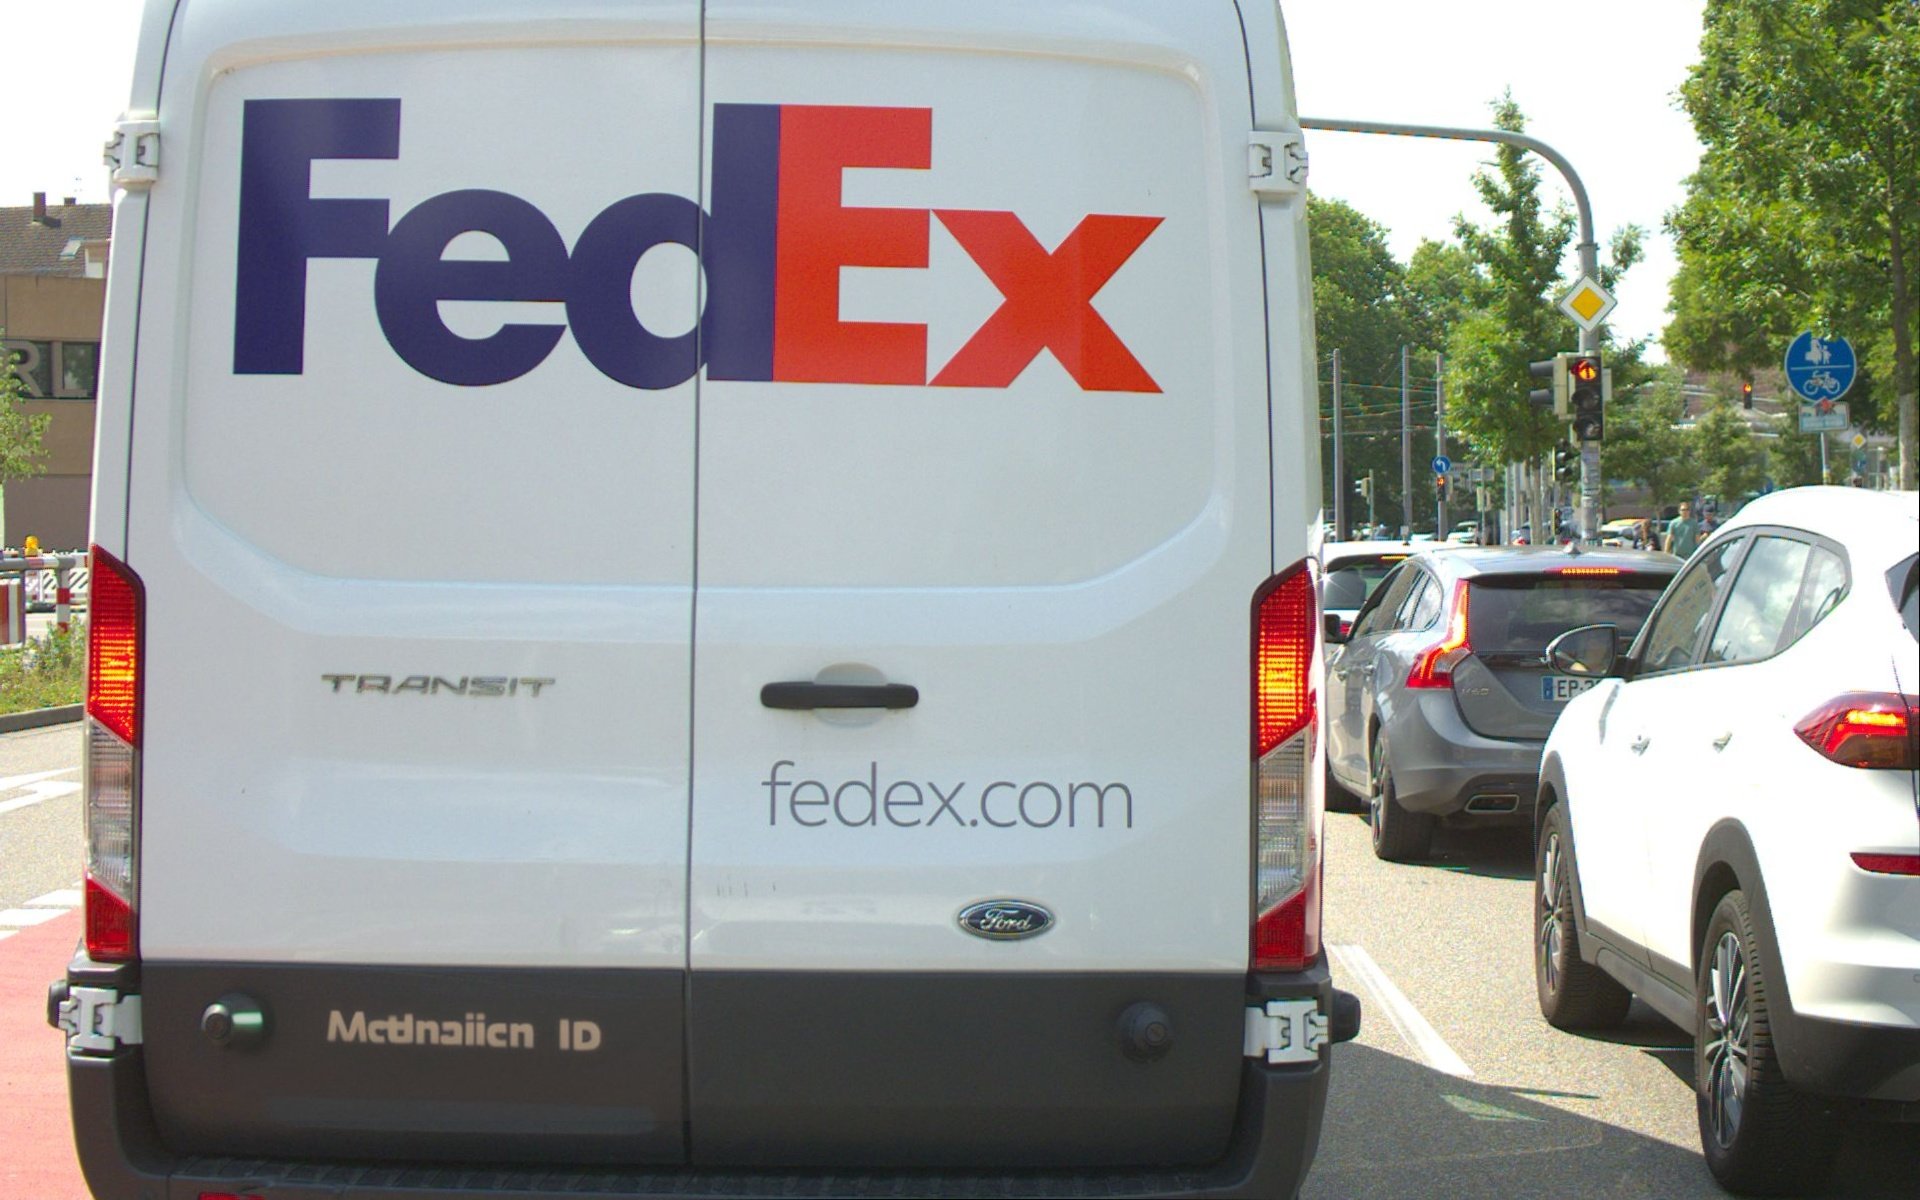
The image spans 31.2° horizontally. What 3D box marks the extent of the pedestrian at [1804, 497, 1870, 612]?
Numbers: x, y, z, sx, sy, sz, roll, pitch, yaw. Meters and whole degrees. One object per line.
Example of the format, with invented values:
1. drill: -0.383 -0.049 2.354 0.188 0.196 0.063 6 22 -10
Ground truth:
1. pedestrian: 14.307 -0.747 56.088 0.758 1.843 0.816 -1 1 -10

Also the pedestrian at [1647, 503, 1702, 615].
1. pedestrian: 11.947 -0.695 57.508 0.759 1.843 0.816 -1 1 1

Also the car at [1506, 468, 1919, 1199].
1. car: 2.618 0.512 8.947 1.814 1.673 3.974 0 1 1

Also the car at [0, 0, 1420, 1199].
1. car: -0.341 0.070 7.184 2.072 2.572 4.428 0 1 1

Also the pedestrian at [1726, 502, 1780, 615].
1. pedestrian: 12.603 -0.660 54.681 0.759 1.783 0.816 0 1 8

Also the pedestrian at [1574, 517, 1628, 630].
1. pedestrian: 10.563 -0.449 56.672 0.759 1.843 0.815 0 1 18

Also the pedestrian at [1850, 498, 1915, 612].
1. pedestrian: 15.094 -0.739 56.269 0.758 1.843 0.816 -1 1 -8

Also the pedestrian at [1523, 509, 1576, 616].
1. pedestrian: 10.257 -0.657 59.868 0.813 1.843 0.761 -1 1 3

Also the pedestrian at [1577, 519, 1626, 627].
1. pedestrian: 11.018 -0.471 59.028 0.759 1.843 0.816 0 1 15

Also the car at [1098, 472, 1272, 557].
1. car: 7.641 -2.842 115.760 2.493 2.708 7.070 1 1 35

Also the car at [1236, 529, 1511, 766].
1. car: 2.736 0.264 23.323 1.499 1.459 3.474 0 1 1

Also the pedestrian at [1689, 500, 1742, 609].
1. pedestrian: 12.883 -0.779 58.648 0.759 1.843 0.816 -1 1 3

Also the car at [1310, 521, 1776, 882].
1. car: 2.720 0.399 16.773 1.691 1.543 3.720 0 1 1

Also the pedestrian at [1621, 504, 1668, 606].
1. pedestrian: 12.558 -0.830 63.083 0.759 1.843 0.816 -1 1 6

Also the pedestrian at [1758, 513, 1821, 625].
1. pedestrian: 13.799 -0.520 57.219 0.758 1.843 0.816 -1 1 -9
